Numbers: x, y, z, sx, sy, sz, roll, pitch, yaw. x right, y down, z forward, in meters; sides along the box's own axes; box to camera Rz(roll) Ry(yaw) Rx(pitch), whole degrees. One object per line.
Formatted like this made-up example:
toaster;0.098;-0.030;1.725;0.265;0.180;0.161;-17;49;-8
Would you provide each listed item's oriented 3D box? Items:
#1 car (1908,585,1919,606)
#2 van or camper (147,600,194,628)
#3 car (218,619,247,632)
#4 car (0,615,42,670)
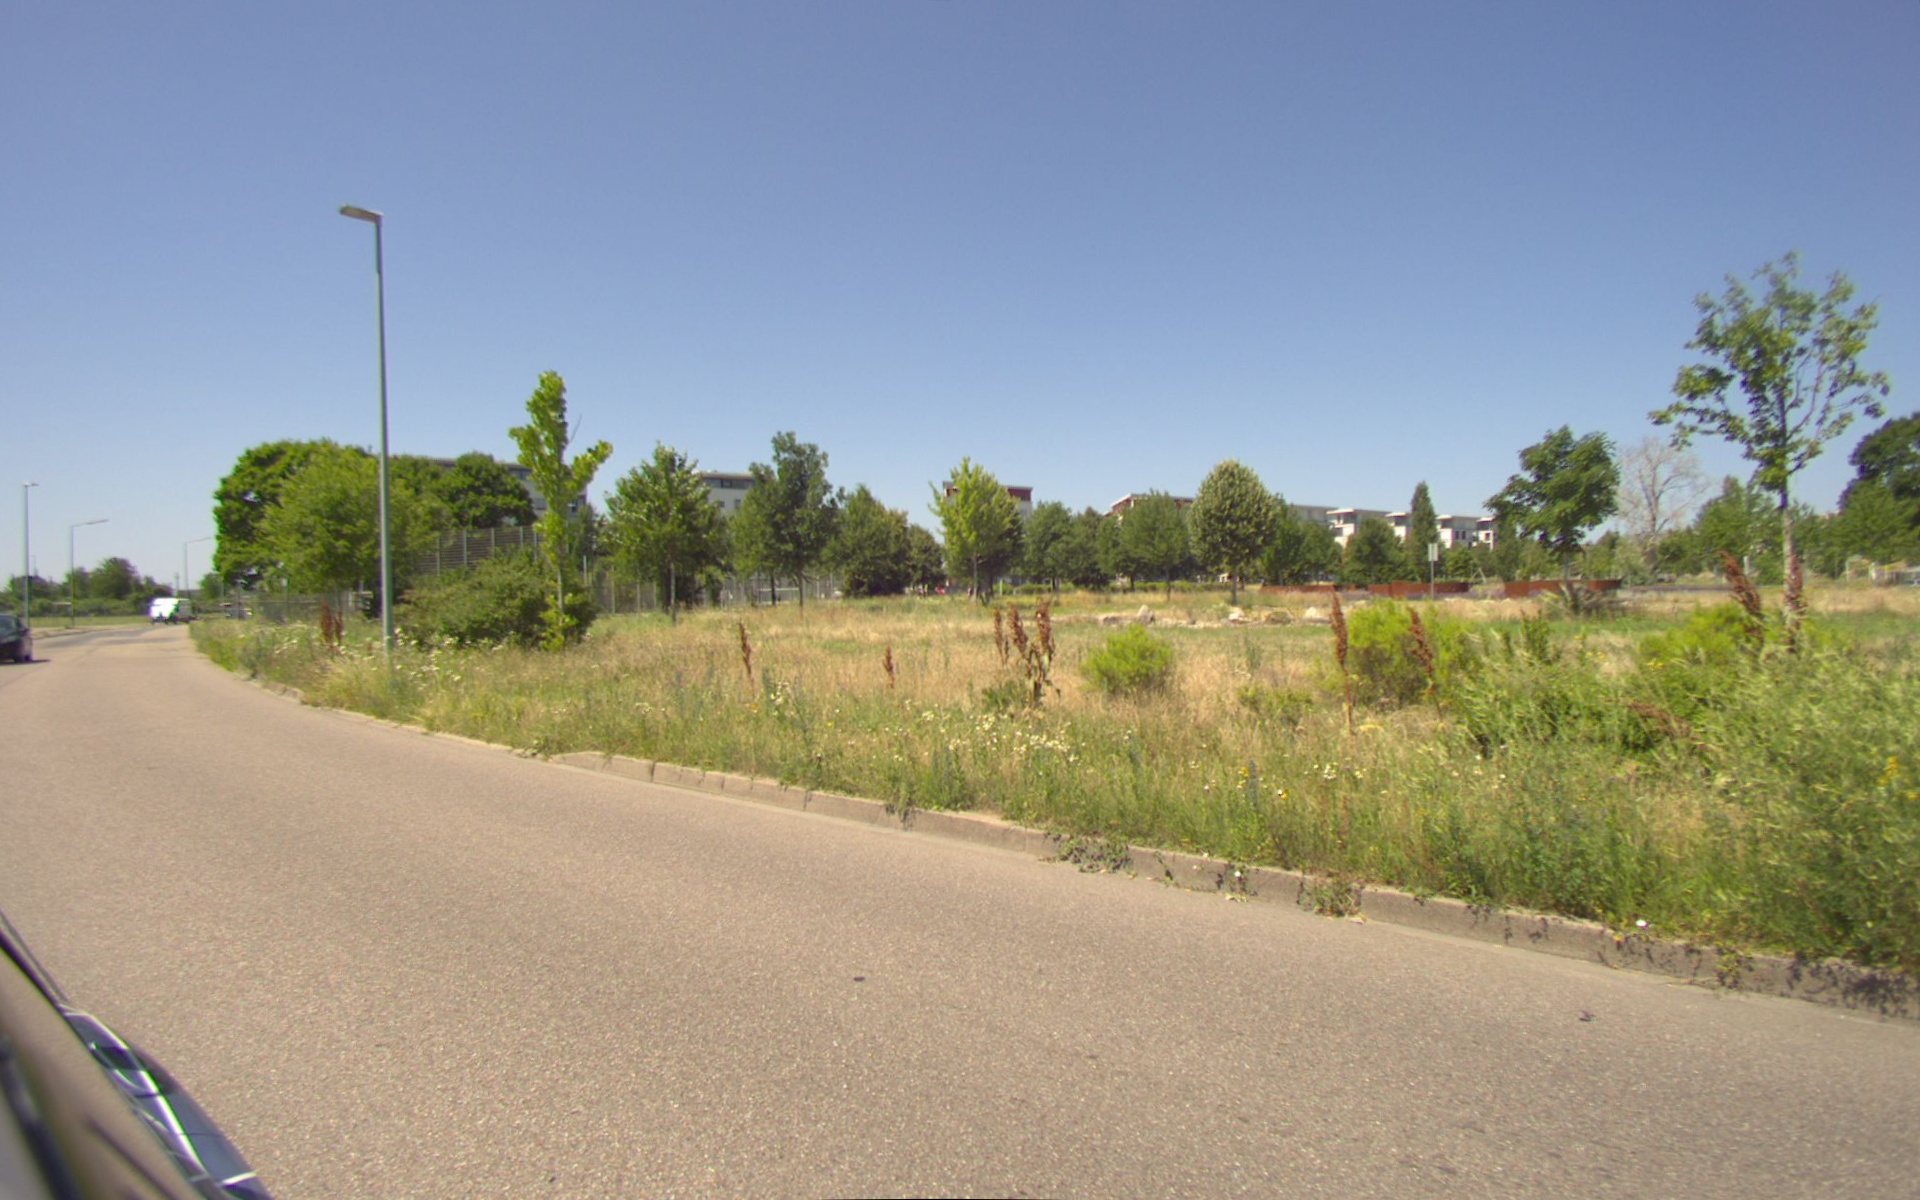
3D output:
car;76.281;-0.352;79.233;1.579;1.609;3.558;-1;0;19
van or camper;-77.571;1.388;99.551;2.105;2.592;5.885;-1;0;-22
car;-86.694;3.011;120.658;1.627;1.477;3.877;-1;0;-16
car;-27.461;1.184;28.615;1.627;1.477;4.170;-1;0;-34
